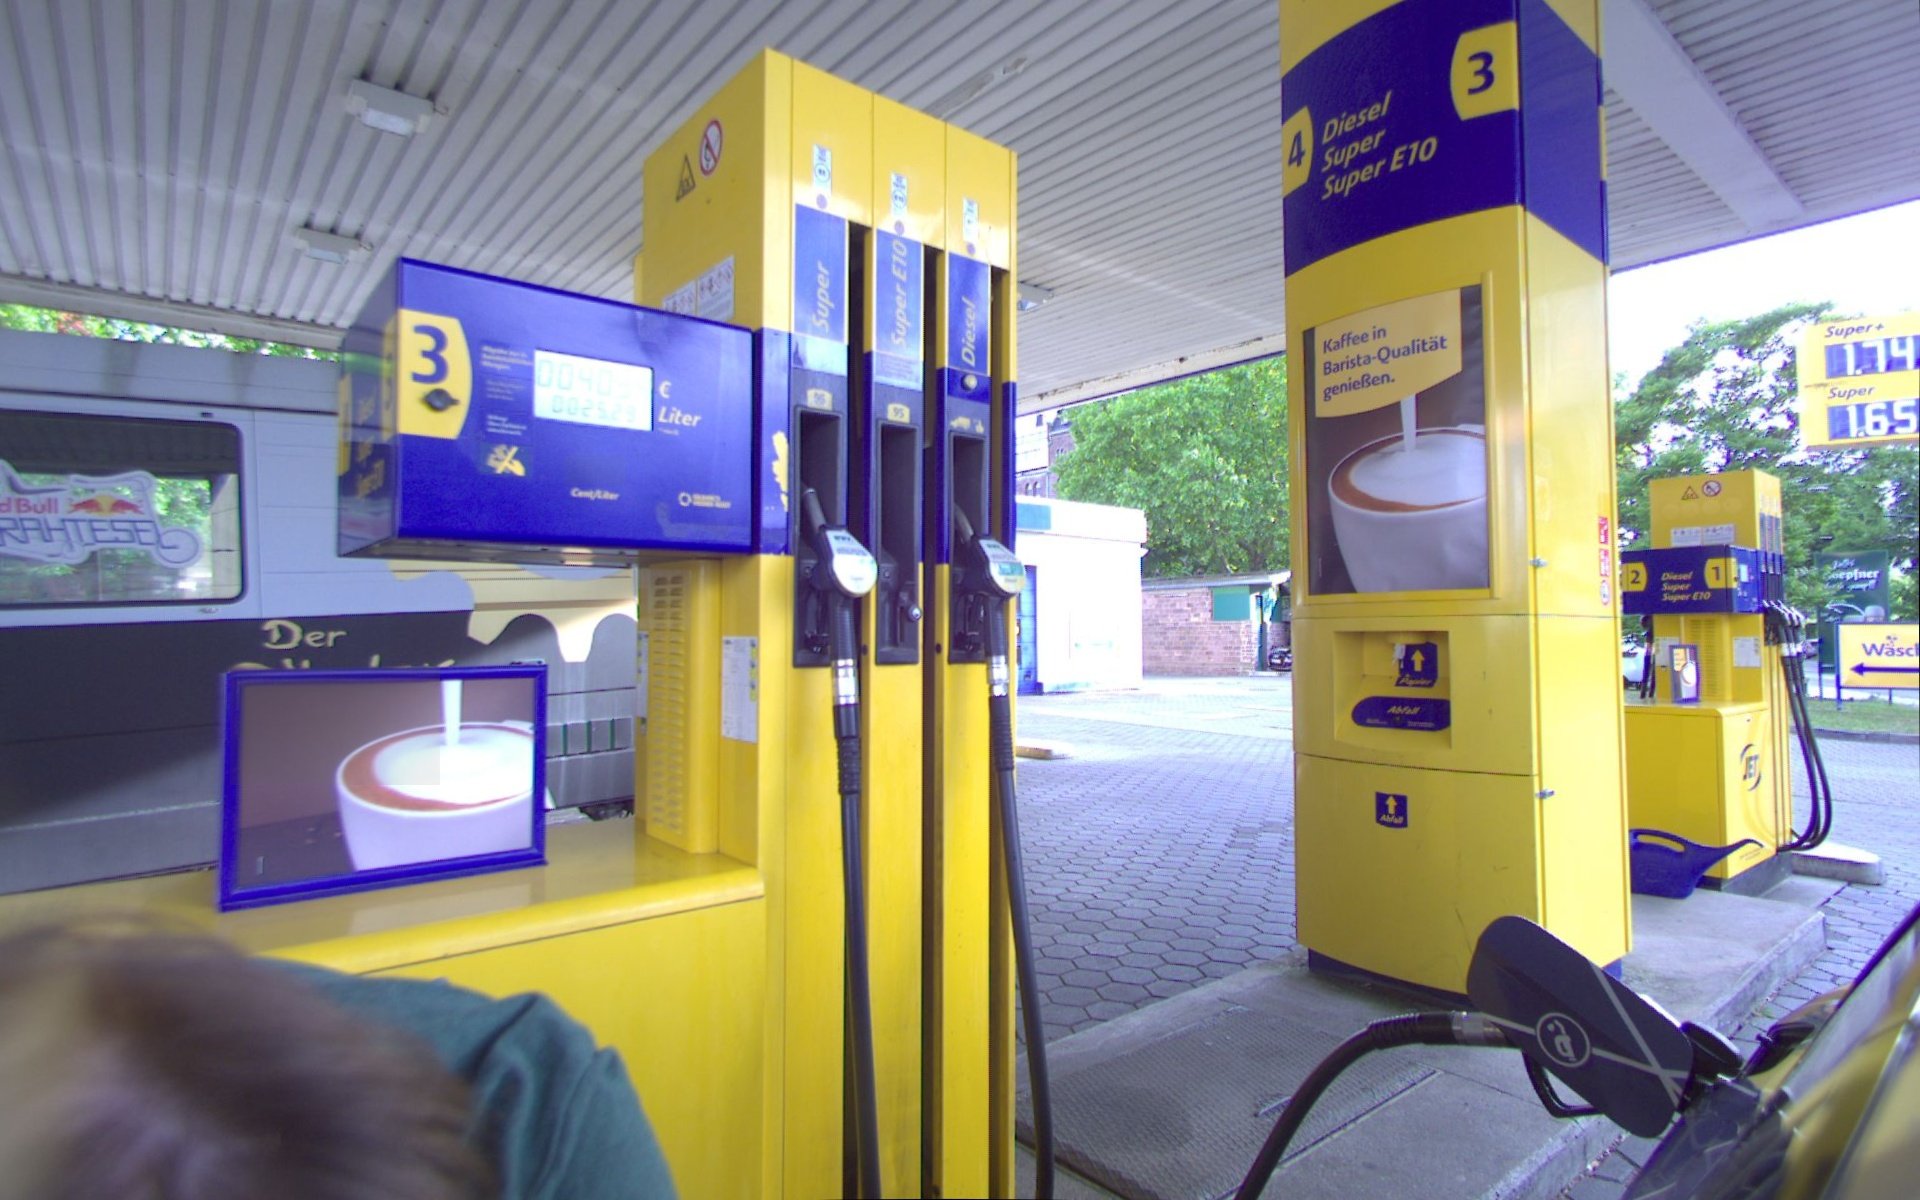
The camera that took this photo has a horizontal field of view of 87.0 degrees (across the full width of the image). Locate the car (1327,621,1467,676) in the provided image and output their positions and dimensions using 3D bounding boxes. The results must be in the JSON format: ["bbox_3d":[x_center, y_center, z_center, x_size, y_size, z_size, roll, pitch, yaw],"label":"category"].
[{"bbox_3d":[13.894,1.531,32.144,4.303,1.622,1.777,2,-1,-28],"label":"car"}]

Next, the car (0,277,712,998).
[{"bbox_3d":[-4.103,0.160,4.902,5.197,2.726,2.258,1,-2,-39],"label":"car"}]

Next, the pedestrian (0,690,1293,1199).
[{"bbox_3d":[-0.328,0.748,0.554,0.662,1.298,0.751,0,0,-41],"label":"pedestrian"}]

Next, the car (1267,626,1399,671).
[{"bbox_3d":[12.698,1.654,34.435,4.303,1.393,1.777,2,-1,-28],"label":"car"}]

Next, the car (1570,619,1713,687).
[{"bbox_3d":[18.364,1.446,27.209,4.308,1.622,1.774,4,-4,-35],"label":"car"}]

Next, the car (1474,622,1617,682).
[{"bbox_3d":[17.854,1.589,30.808,4.303,1.622,1.776,4,-4,-28],"label":"car"}]
